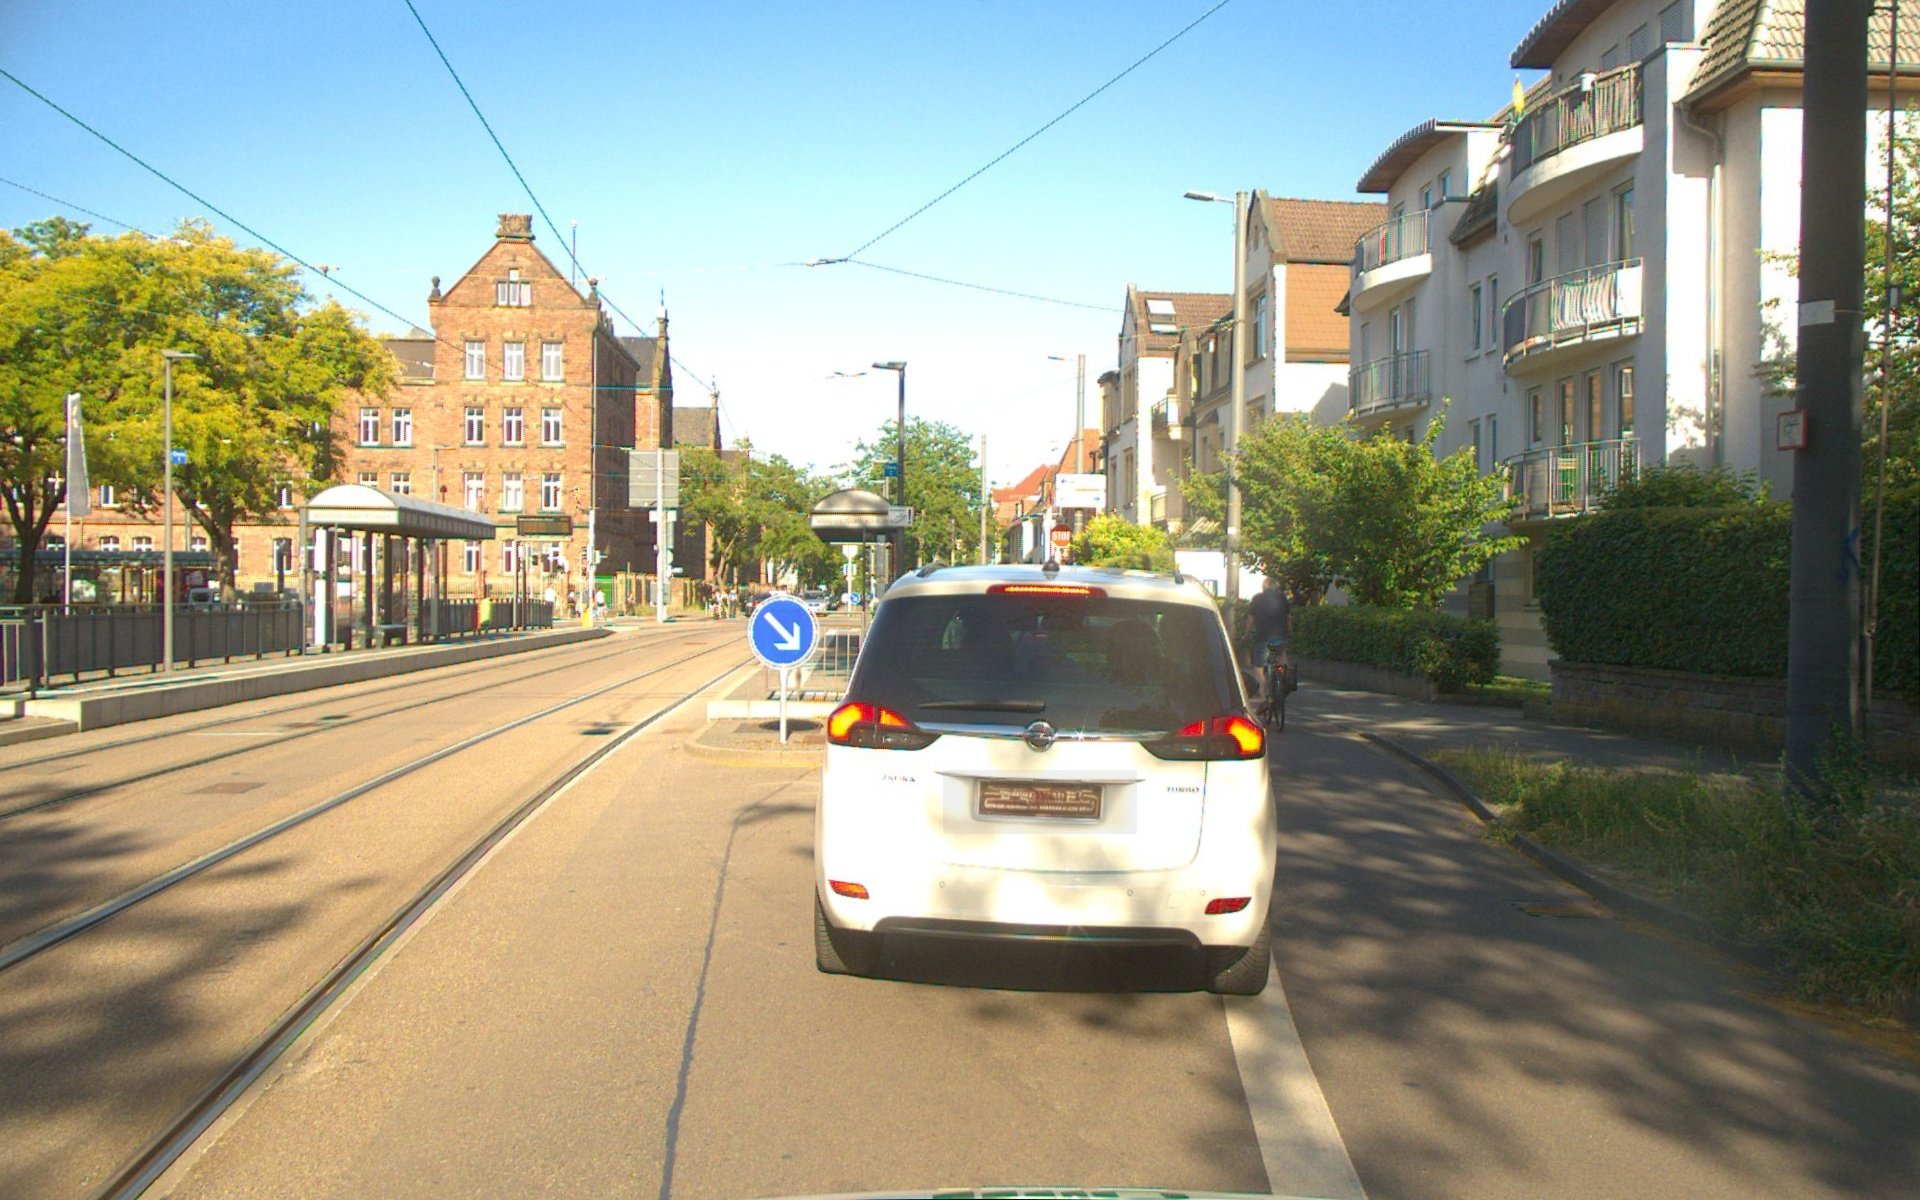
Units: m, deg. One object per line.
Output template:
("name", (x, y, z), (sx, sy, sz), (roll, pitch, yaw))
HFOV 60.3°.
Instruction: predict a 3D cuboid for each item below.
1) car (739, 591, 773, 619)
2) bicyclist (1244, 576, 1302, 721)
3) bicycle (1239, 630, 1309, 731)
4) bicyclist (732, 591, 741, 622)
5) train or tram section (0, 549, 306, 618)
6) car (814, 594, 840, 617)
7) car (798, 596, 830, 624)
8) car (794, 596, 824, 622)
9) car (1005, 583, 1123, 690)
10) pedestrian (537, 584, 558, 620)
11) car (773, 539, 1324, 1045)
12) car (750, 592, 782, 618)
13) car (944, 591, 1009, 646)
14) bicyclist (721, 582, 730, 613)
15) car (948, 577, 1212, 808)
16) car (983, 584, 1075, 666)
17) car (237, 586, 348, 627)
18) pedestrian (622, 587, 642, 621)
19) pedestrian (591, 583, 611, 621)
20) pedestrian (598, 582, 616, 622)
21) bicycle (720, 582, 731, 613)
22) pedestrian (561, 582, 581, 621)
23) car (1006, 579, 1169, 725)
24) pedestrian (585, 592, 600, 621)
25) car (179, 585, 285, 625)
("car", (-13.162, 0.304, 106.835), (1.711, 1.746, 3.999), (1, 0, -1))
("bicyclist", (3.787, 0.569, 20.025), (0.603, 1.716, 0.779), (0, 0, 5))
("bicycle", (3.786, 0.943, 20.061), (0.611, 1.116, 1.974), (0, 0, 4))
("bicyclist", (-15.101, 0.433, 111.686), (0.478, 2.049, 0.502), (1, -1, -1))
("train or tram section", (-40.750, -0.754, 79.422), (17.048, 3.210, 3.343), (0, 0, -6))
("car", (-10.358, 0.449, 128.901), (1.711, 1.746, 3.999), (1, 0, -1))
("car", (-9.454, 0.626, 107.203), (1.711, 1.746, 3.999), (1, 0, -1))
("car", (-10.472, 0.604, 115.045), (1.711, 1.746, 3.999), (1, 0, -1))
("car", (1.790, 0.577, 28.289), (1.867, 1.690, 4.002), (0, 0, 4))
("pedestrian", (-22.108, 0.121, 88.676), (0.791, 1.934, 0.744), (1, -1, 13))
("car", (0.506, 0.631, 7.623), (1.866, 1.690, 4.003), (0, 0, 6))
("car", (-13.308, 0.363, 113.500), (1.711, 1.746, 3.999), (1, 0, -1))
("car", (0.503, 0.557, 53.084), (1.869, 1.690, 3.998), (0, 0, -2))
("bicyclist", (-15.406, -0.166, 108.746), (0.488, 2.049, 0.572), (0, 0, -1))
("car", (1.070, 0.647, 13.777), (1.866, 1.625, 4.003), (0, 0, 6))
("car", (1.447, 0.504, 36.122), (1.868, 1.690, 4.000), (0, 0, 0))
("car", (-28.116, 0.273, 69.747), (3.908, 1.658, 1.817), (1, 0, -4))
("pedestrian", (-18.683, 0.233, 94.201), (0.791, 1.934, 0.744), (1, -1, 18))
("pedestrian", (-19.257, 0.119, 88.669), (0.789, 2.049, 0.711), (1, -1, -38))
("pedestrian", (-18.084, 0.094, 84.693), (0.782, 2.049, 0.717), (1, -1, -18))
("bicycle", (-15.406, -0.166, 108.718), (0.477, 2.049, 1.405), (0, 0, -1))
("pedestrian", (-20.711, 0.090, 88.024), (0.788, 2.049, 0.712), (1, -1, -34))
("car", (1.681, 0.587, 21.010), (1.866, 1.653, 4.003), (0, 0, 6))
("pedestrian", (-21.118, 0.376, 94.988), (0.640, 1.640, 0.711), (1, -1, 1))
("car", (-32.447, 0.227, 73.820), (3.908, 1.658, 1.817), (1, 0, -4))
